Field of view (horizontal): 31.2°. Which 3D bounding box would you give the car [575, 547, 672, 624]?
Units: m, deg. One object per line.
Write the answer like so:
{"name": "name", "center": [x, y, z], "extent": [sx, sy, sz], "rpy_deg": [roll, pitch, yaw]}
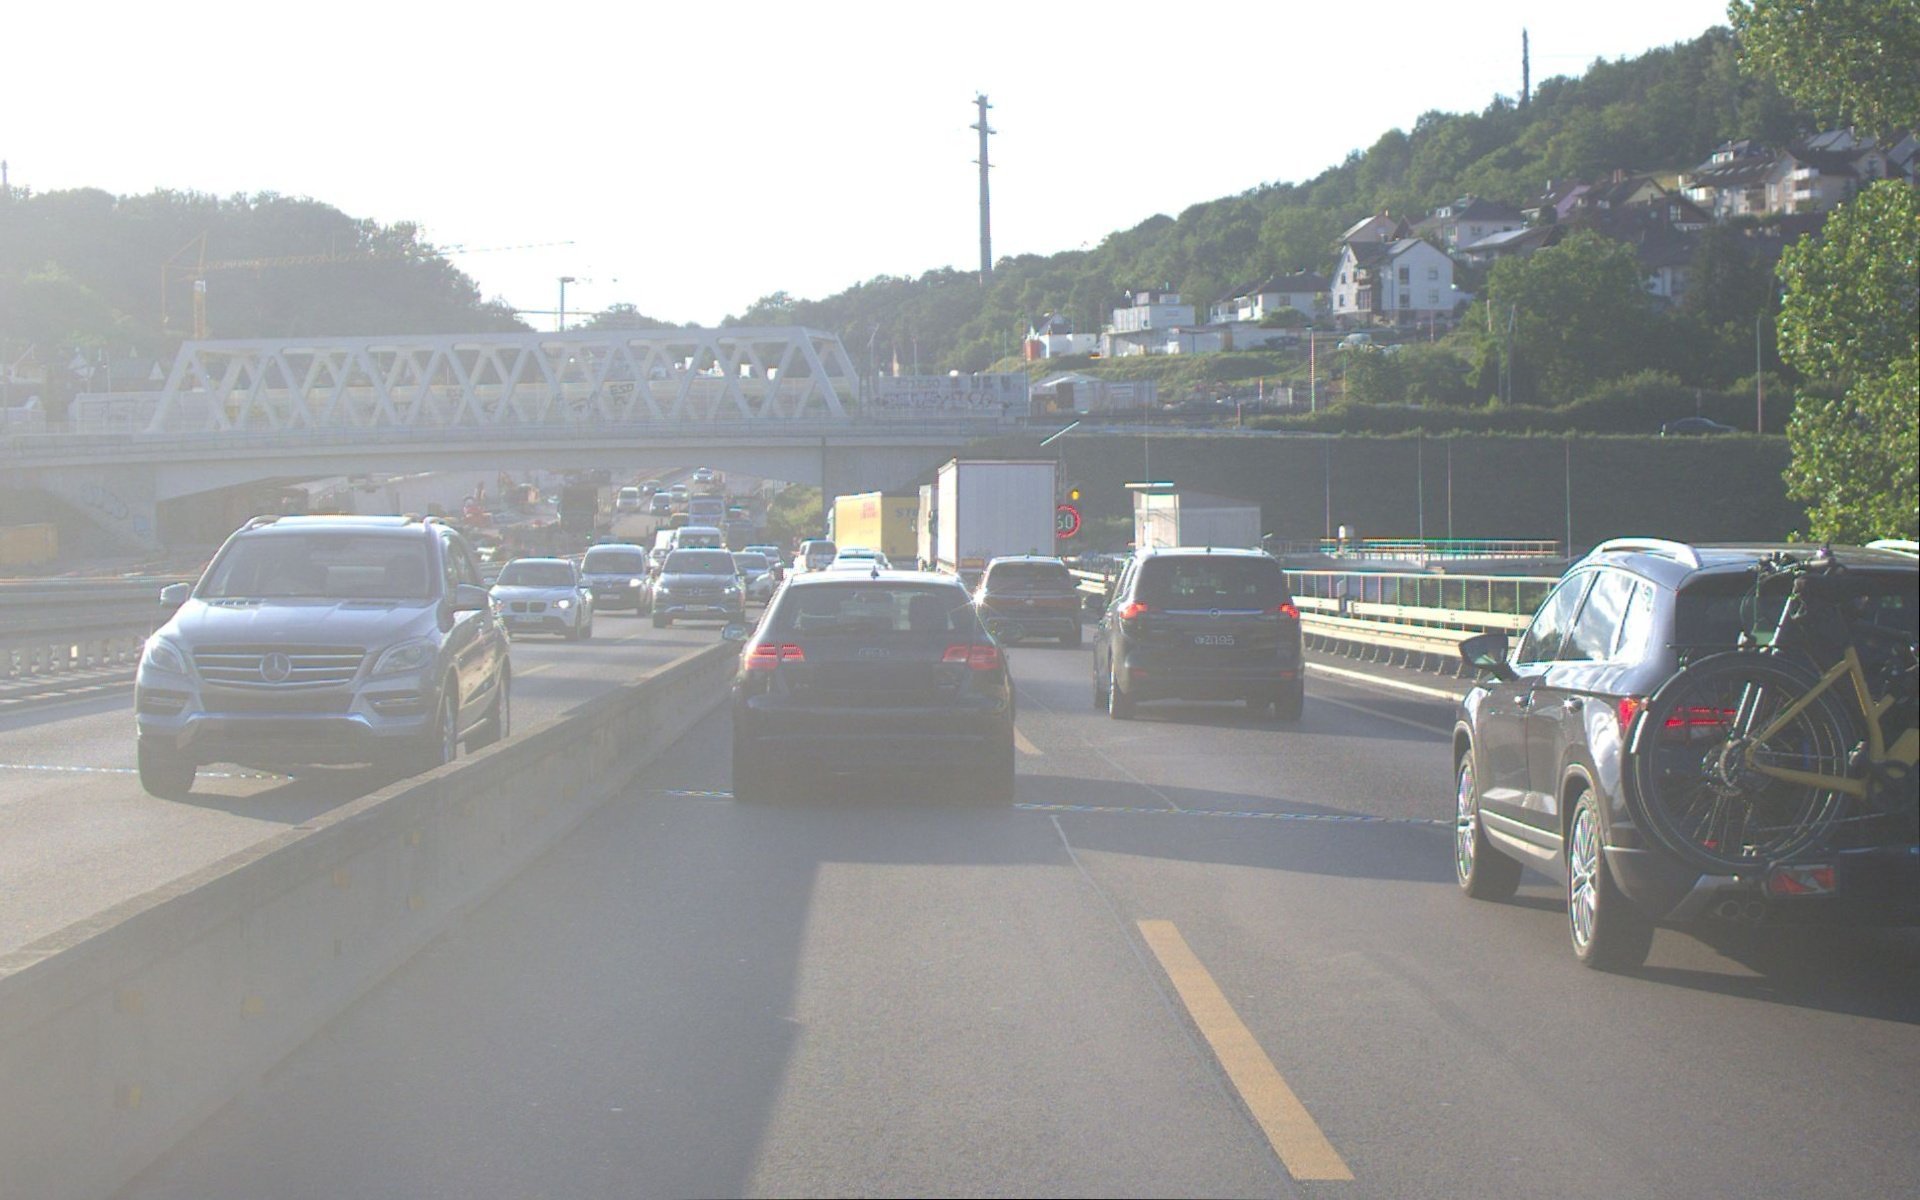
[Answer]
{"name": "car", "center": [-8.665, -0.397, 88.736], "extent": [1.993, 1.850, 4.282], "rpy_deg": [3, 1, 0]}

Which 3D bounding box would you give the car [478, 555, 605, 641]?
{"name": "car", "center": [-7.860, -0.069, 64.881], "extent": [1.929, 1.541, 4.289], "rpy_deg": [1, 1, -1]}

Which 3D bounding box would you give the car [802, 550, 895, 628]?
{"name": "car", "center": [-2.313, -0.251, 70.379], "extent": [1.765, 1.481, 4.001], "rpy_deg": [1, 1, -3]}

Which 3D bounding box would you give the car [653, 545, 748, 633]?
{"name": "car", "center": [-5.705, -0.272, 76.077], "extent": [1.929, 1.748, 4.674], "rpy_deg": [3, 1, -3]}

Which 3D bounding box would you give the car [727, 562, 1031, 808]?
{"name": "car", "center": [-0.569, 0.477, 22.177], "extent": [1.770, 1.385, 4.001], "rpy_deg": [1, 1, -3]}

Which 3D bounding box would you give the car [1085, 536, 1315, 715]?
{"name": "car", "center": [2.286, 0.194, 33.806], "extent": [1.814, 1.626, 4.412], "rpy_deg": [1, 1, -2]}

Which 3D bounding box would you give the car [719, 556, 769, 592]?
{"name": "car", "center": [-9.740, -1.170, 154.629], "extent": [1.993, 1.525, 5.783], "rpy_deg": [0, 1, -6]}

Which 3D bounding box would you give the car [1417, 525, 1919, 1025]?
{"name": "car", "center": [3.096, 0.521, 13.453], "extent": [1.875, 1.594, 4.966], "rpy_deg": [0, 1, -1]}

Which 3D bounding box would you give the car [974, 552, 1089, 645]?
{"name": "car", "center": [1.251, -0.055, 62.160], "extent": [1.770, 1.547, 4.001], "rpy_deg": [2, 1, -3]}

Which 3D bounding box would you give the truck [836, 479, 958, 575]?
{"name": "truck", "center": [-3.260, -3.704, 170.793], "extent": [3.889, 4.482, 13.853], "rpy_deg": [1, 2, -10]}

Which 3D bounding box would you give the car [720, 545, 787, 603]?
{"name": "car", "center": [-6.040, -0.784, 100.272], "extent": [1.838, 1.634, 4.001], "rpy_deg": [-1, 1, -5]}

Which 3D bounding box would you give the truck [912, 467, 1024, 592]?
{"name": "truck", "center": [0.174, -2.826, 132.522], "extent": [3.890, 4.482, 15.269], "rpy_deg": [1, 2, -1]}

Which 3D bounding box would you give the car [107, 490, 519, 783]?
{"name": "car", "center": [-4.190, 0.185, 23.016], "extent": [1.993, 1.752, 4.661], "rpy_deg": [0, 1, -2]}

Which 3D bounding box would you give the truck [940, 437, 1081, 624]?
{"name": "truck", "center": [1.227, -2.067, 92.390], "extent": [3.385, 4.482, 15.269], "rpy_deg": [1, 3, 0]}
